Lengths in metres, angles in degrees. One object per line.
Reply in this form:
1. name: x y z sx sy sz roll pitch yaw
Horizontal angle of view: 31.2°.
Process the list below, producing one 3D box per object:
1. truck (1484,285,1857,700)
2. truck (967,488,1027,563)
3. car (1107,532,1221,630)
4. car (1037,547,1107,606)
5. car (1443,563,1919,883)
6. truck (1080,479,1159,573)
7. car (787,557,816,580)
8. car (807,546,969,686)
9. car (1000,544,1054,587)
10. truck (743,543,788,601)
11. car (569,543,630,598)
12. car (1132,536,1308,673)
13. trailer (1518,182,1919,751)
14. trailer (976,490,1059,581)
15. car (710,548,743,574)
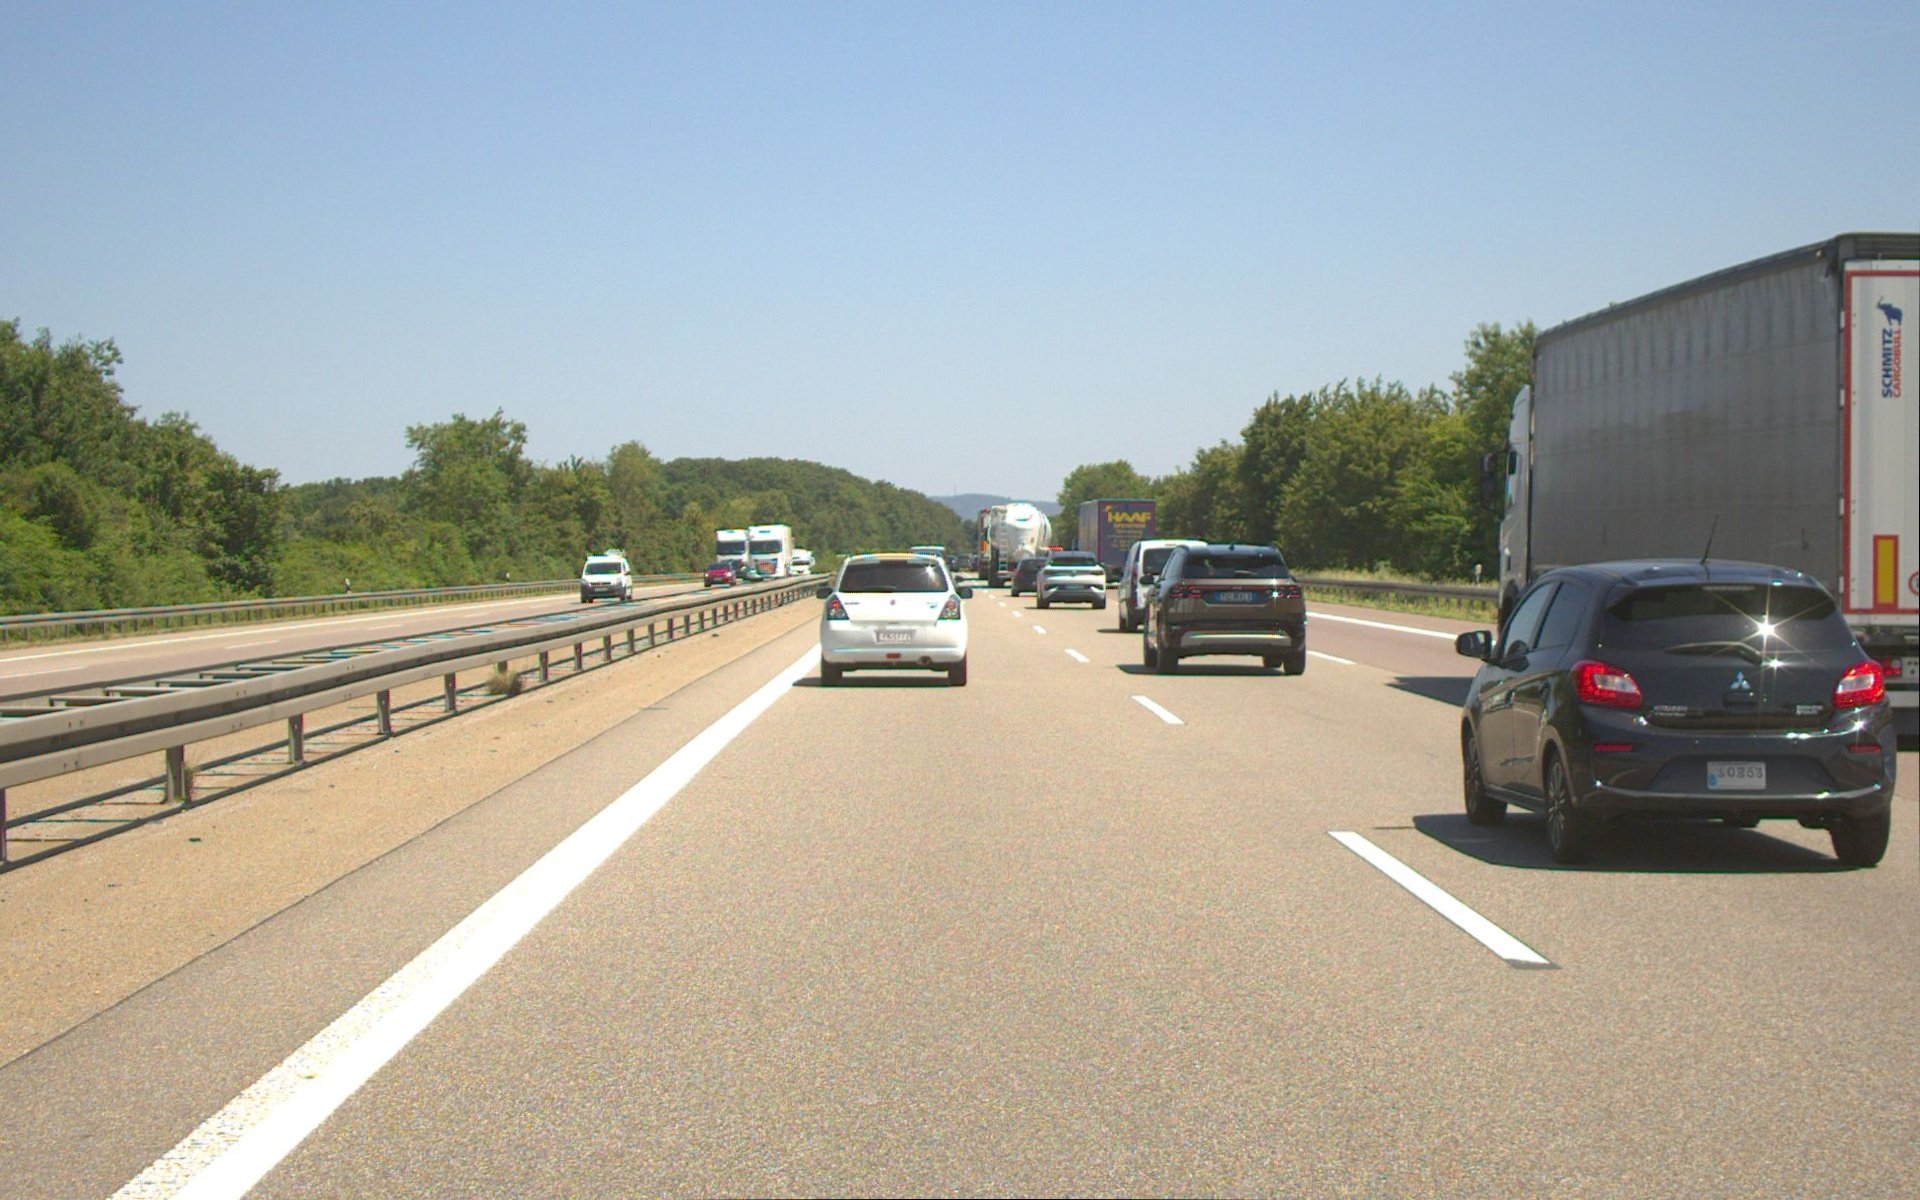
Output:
1. truck: 7.976 -1.162 39.525 2.810 4.290 7.193 1 1 1
2. truck: 2.187 -4.313 201.690 3.394 4.199 12.083 1 1 1
3. car: 4.006 -0.388 68.174 1.853 1.856 4.702 1 1 -1
4. car: 3.125 -0.670 96.737 1.802 1.597 4.381 1 1 0
5. car: 3.627 0.555 17.733 1.687 1.468 3.433 1 1 -1
6. truck: 7.342 -3.369 160.214 3.109 4.124 15.511 1 1 1
7. car: -10.386 -2.040 225.740 1.719 1.417 3.898 -3 0 -1
8. car: -0.828 0.161 40.290 1.799 1.547 3.610 1 1 -1
9. car: 2.410 -1.249 124.596 1.850 1.518 3.957 1 1 0
10. truck: -14.294 -2.082 253.115 2.740 4.071 6.217 -2 1 1
11. car: -14.150 -1.154 134.982 1.788 2.007 4.380 -3 0 1
12. car: 3.339 0.029 44.965 1.867 1.669 4.746 1 1 -1
13. trailer: 7.983 -1.069 33.109 2.810 4.290 14.255 1 1 0
14. trailer: 2.599 -2.959 160.097 2.911 4.055 12.420 1 1 -3
15. car: -13.944 -2.350 205.481 1.772 1.412 4.111 -3 1 -1
